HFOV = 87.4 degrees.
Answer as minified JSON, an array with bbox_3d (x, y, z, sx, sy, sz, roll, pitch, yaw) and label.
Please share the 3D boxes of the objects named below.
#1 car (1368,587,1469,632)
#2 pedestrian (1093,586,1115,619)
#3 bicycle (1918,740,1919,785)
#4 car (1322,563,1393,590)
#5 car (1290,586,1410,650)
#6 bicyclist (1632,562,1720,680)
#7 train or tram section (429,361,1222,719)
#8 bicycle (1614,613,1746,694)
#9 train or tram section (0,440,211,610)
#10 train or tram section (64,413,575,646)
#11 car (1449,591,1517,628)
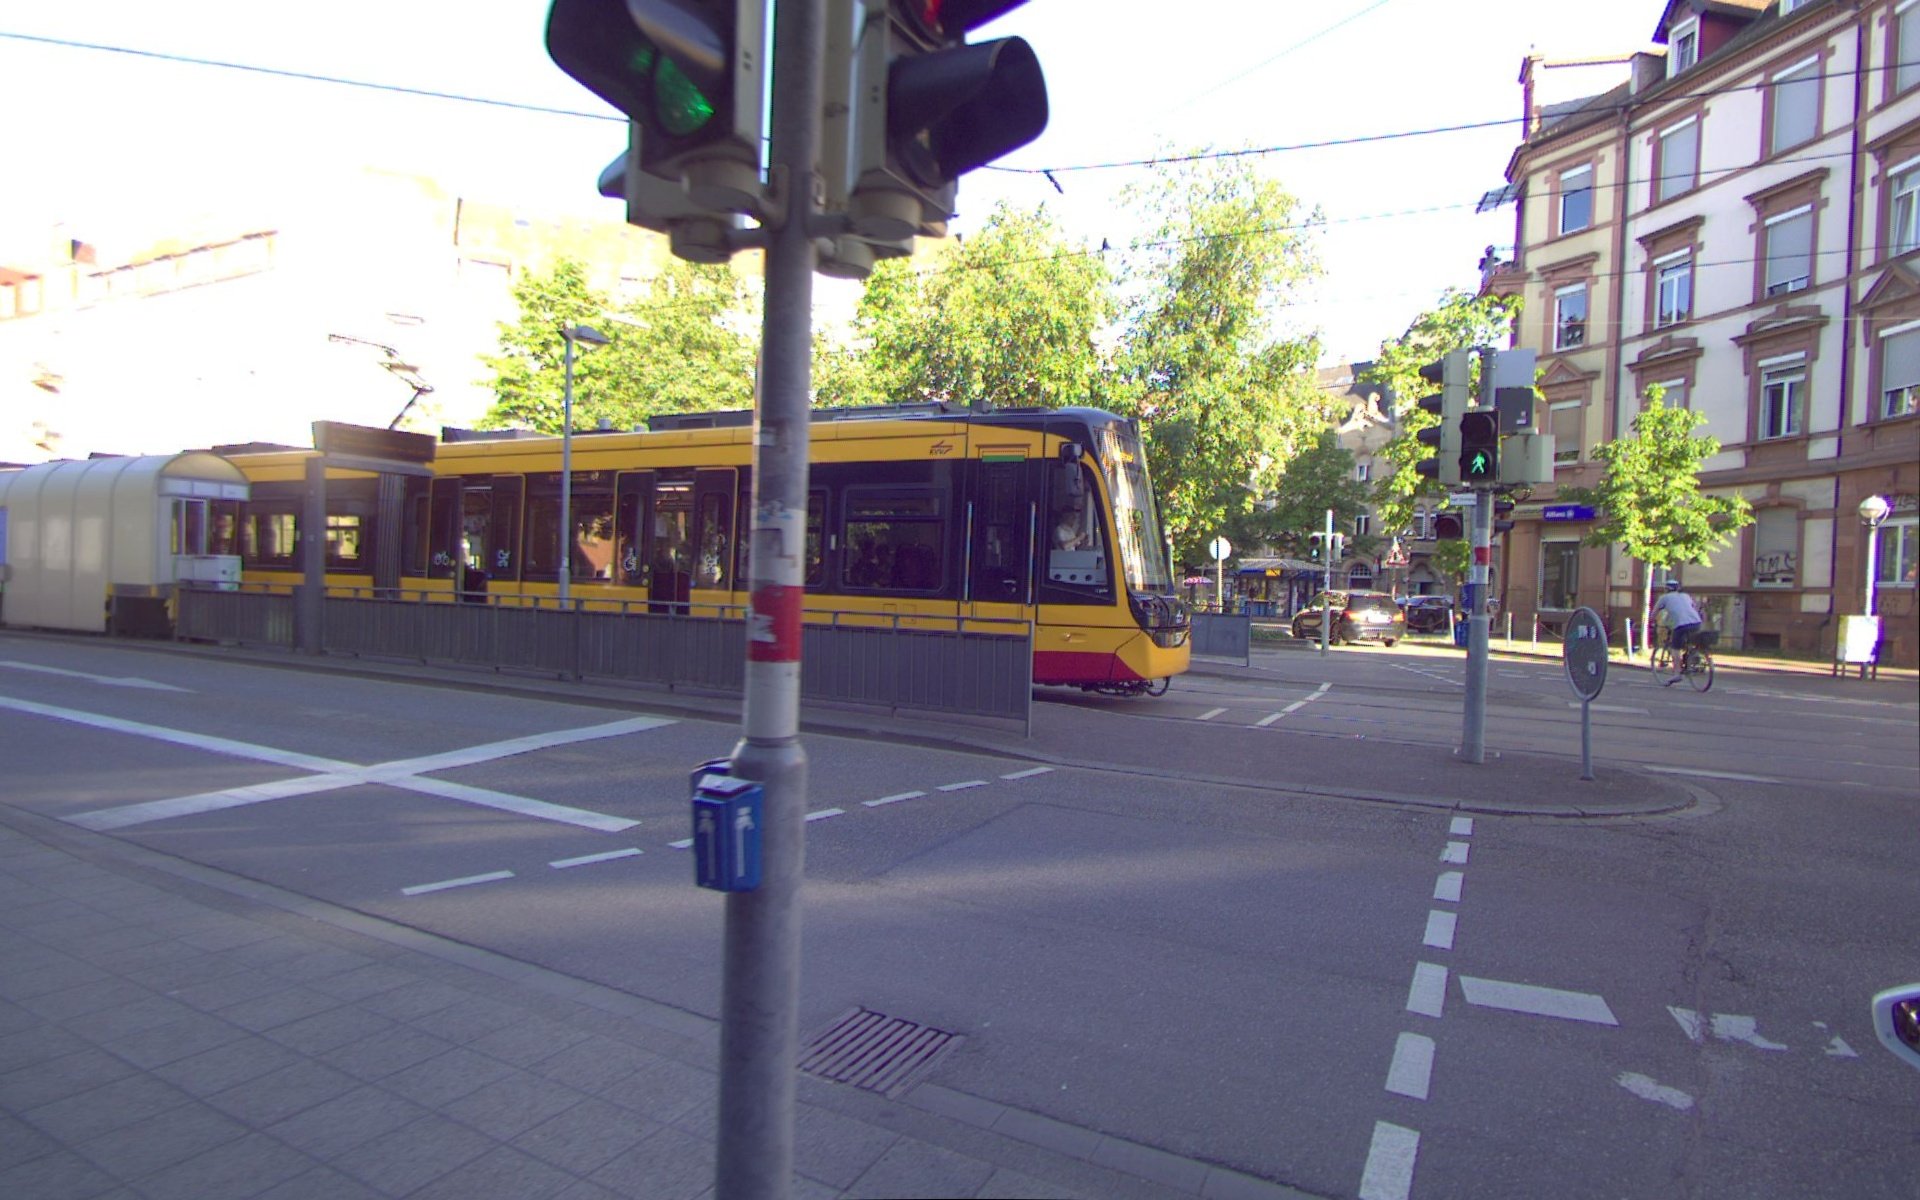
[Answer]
[{"bbox_3d":[18.067,0.368,39.502,4.330,1.632,1.778,1,2,-38],"label":"car"},{"bbox_3d":[7.962,0.120,55.538,0.711,1.773,0.873,0,2,-41],"label":"pedestrian"},{"bbox_3d":[7.229,0.887,6.940,0.708,1.122,1.957,3,2,40],"label":"bicycle"},{"bbox_3d":[26.259,-1.569,66.402,1.862,1.669,3.955,1,2,-39],"label":"car"},{"bbox_3d":[11.101,0.454,28.883,1.761,1.562,3.858,3,2,-2],"label":"car"},{"bbox_3d":[12.242,0.338,17.215,0.781,1.939,0.945,2,2,5],"label":"bicyclist"},{"bbox_3d":[-2.494,-0.849,14.223,11.583,3.668,2.796,3,2,28],"label":"train or tram section"},{"bbox_3d":[12.223,0.871,17.149,0.796,1.200,2.228,2,1,6],"label":"bicycle"},{"bbox_3d":[-23.922,-1.849,25.492,12.448,3.605,2.770,3,2,28],"label":"train or tram section"},{"bbox_3d":[-13.015,-1.344,19.752,12.191,3.635,2.782,3,2,28],"label":"train or tram section"},{"bbox_3d":[22.315,0.414,42.822,3.182,1.477,1.487,1,2,-41],"label":"car"}]
